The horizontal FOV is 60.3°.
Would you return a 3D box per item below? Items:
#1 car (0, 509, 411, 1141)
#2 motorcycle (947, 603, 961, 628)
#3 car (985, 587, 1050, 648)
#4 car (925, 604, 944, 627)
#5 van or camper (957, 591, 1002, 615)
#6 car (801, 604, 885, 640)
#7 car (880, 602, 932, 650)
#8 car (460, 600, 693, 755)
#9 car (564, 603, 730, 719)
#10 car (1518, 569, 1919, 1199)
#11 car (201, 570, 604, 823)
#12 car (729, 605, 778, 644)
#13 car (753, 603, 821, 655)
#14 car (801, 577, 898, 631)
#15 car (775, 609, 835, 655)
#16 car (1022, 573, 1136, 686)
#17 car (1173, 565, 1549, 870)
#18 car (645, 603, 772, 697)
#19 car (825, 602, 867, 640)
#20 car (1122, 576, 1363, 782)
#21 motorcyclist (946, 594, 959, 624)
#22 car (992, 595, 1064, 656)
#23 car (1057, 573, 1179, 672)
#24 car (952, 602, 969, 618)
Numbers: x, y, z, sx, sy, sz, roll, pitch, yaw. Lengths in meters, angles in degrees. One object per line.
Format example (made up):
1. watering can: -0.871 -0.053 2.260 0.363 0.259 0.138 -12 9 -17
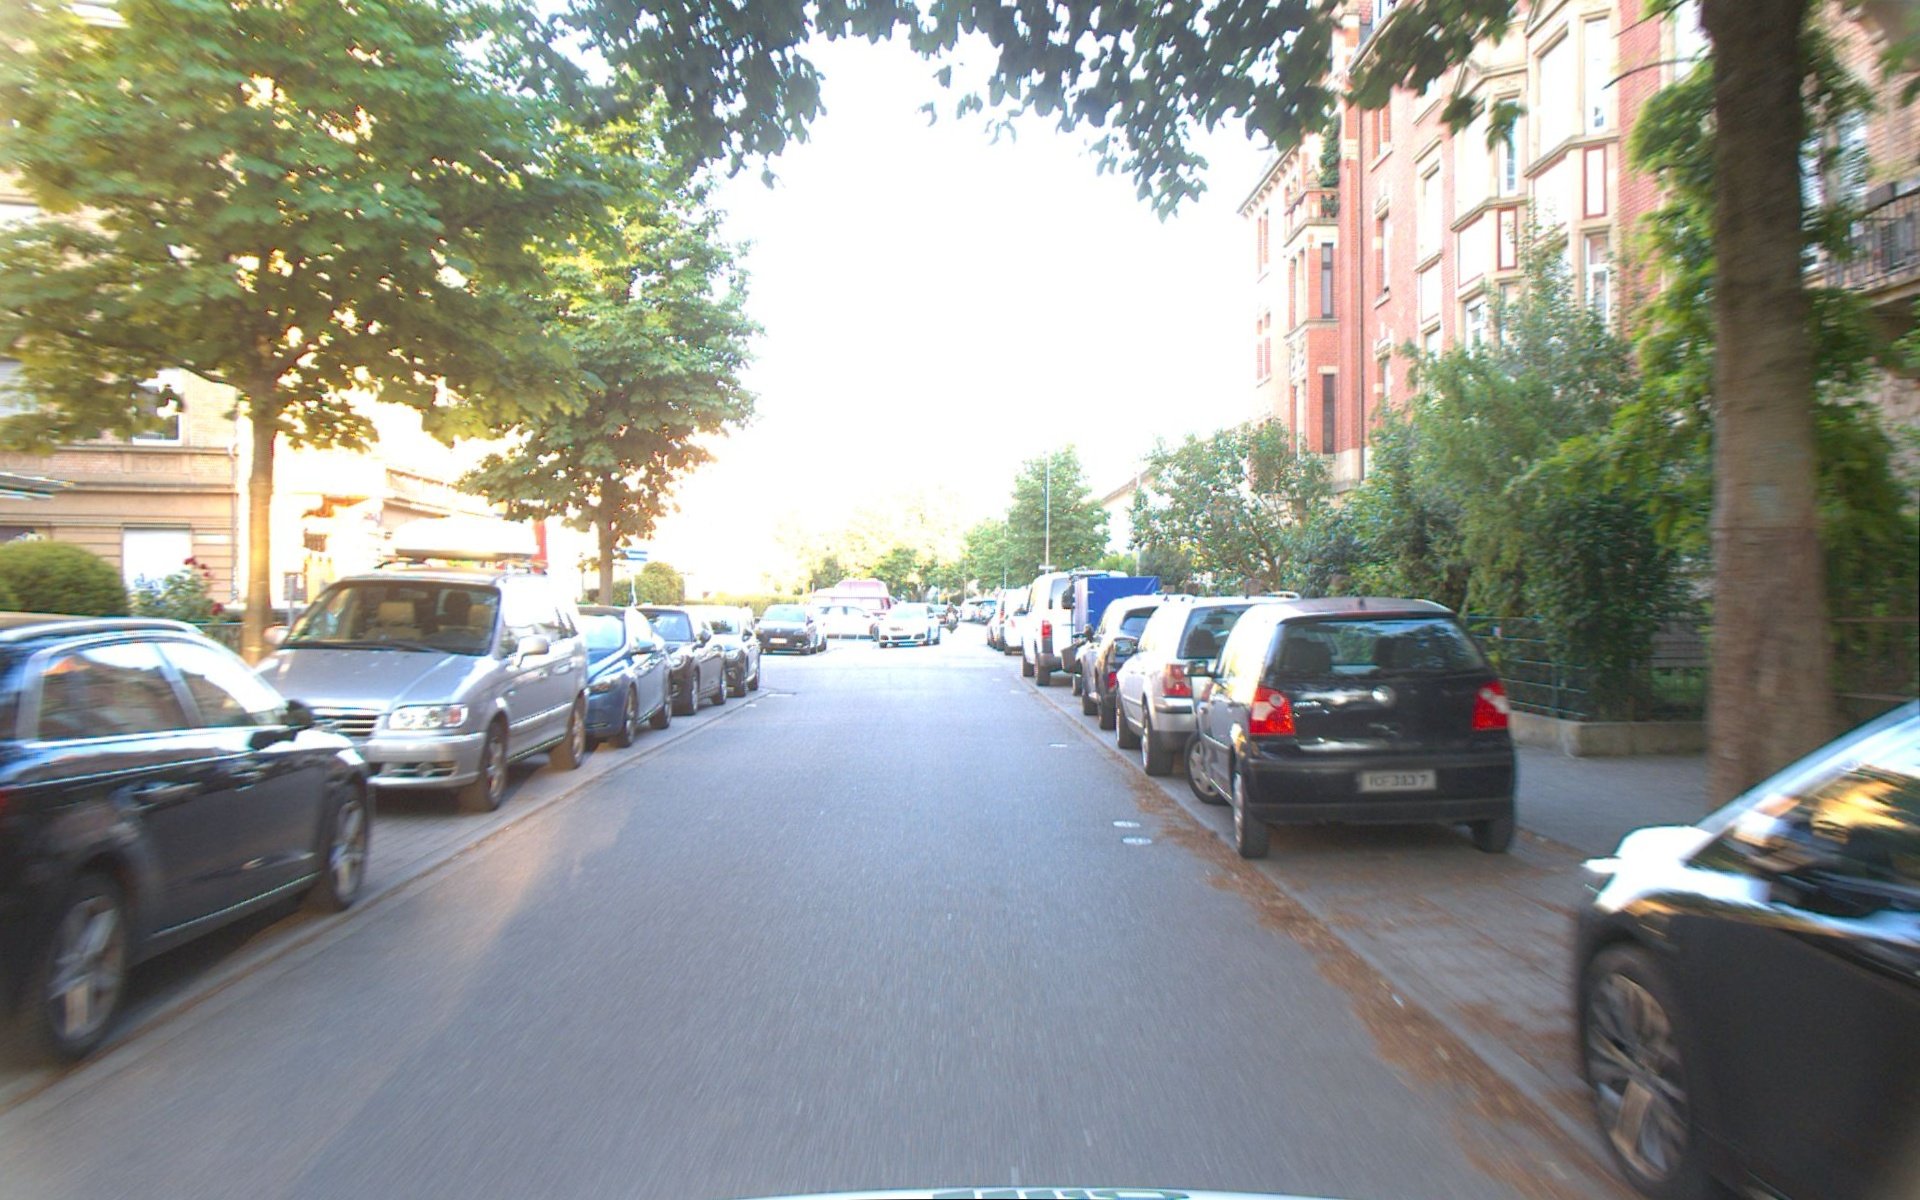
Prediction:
1. car: -3.636 0.639 6.387 1.681 1.821 4.215 0 0 -1
2. motorcycle: -0.357 0.836 90.952 0.727 1.272 3.377 -1 1 -1
3. car: 1.764 0.540 51.772 1.653 1.843 3.937 0 0 -3
4. car: -1.840 1.117 119.250 1.403 1.624 3.482 0 0 -1
5. van or camper: 2.306 0.349 195.817 5.170 2.840 1.547 0 0 -12
6. car: -4.994 0.930 70.714 3.548 1.487 1.605 0 0 -5
7. car: -1.892 0.898 58.653 1.776 1.624 3.482 0 0 -1
8. car: -4.058 0.753 18.123 1.681 1.490 3.986 0 0 -1
9. car: -4.288 0.787 23.160 1.681 1.466 3.630 0 0 -1
10. car: 2.568 0.643 2.871 1.653 1.466 4.208 -2 0 -1
11. car: -4.075 0.617 12.922 1.681 1.624 4.518 0 0 -1
12. car: -7.950 0.925 63.901 1.682 1.466 3.627 -1 0 -4
13. car: -5.269 0.885 50.695 1.680 1.512 3.630 0 -1 0
14. car: -4.871 0.173 73.550 4.263 2.358 1.745 0 0 -3
15. car: -5.248 1.057 56.295 1.680 1.466 3.630 0 0 0
16. car: 2.170 0.527 31.081 1.647 1.975 3.877 0 0 -3
17. car: 2.411 0.642 10.874 1.651 1.634 3.941 0 0 2
18. car: -4.209 0.799 28.156 1.566 1.466 3.837 0 0 0
19. car: -4.678 0.840 67.763 1.682 1.466 3.627 0 0 -4
20. car: 2.436 0.638 15.113 1.652 1.634 3.941 0 0 2
21. motorcyclist: -0.411 0.493 90.583 0.688 1.659 0.822 -1 0 -1
22. car: 1.870 0.705 46.781 1.653 1.634 3.937 0 0 -3
23. car: 2.557 0.357 27.373 1.508 1.548 3.429 0 0 -3
24. car: 0.025 1.034 170.144 1.681 1.624 3.482 0 0 -1
